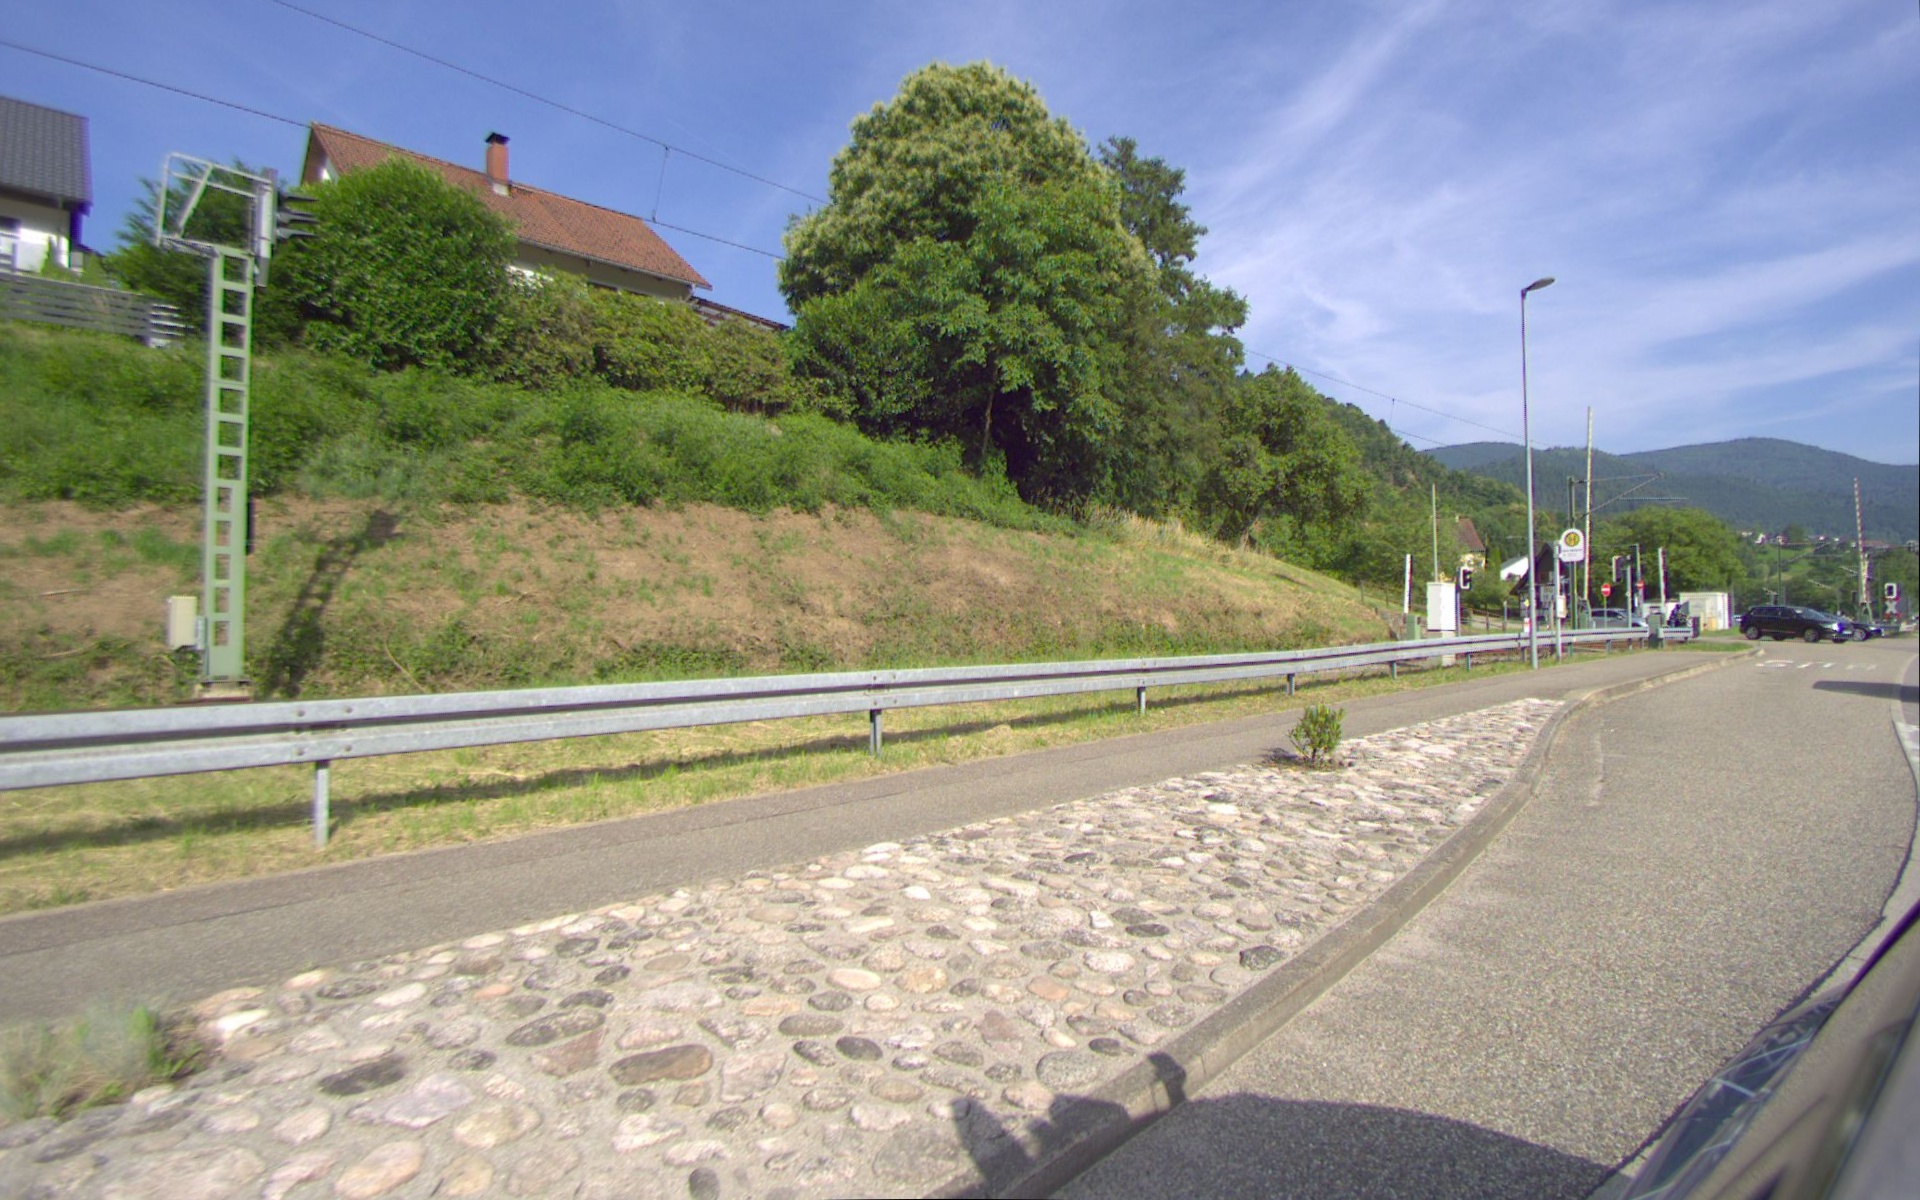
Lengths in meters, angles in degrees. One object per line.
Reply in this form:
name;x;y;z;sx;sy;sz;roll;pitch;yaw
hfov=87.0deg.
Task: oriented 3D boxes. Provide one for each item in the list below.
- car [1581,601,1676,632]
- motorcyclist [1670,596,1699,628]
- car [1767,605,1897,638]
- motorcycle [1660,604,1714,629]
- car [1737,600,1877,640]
car;38.163;0.965;57.850;1.798;1.708;4.128;0;-2;-31
motorcyclist;37.230;0.633;52.006;0.750;1.617;0.910;0;-2;-27
car;43.657;1.023;50.766;1.810;1.488;4.734;0;0;-41
motorcycle;37.273;0.867;51.923;0.782;1.270;2.102;0;-2;-26
car;38.970;0.890;46.740;1.890;1.681;4.751;2;0;-13
